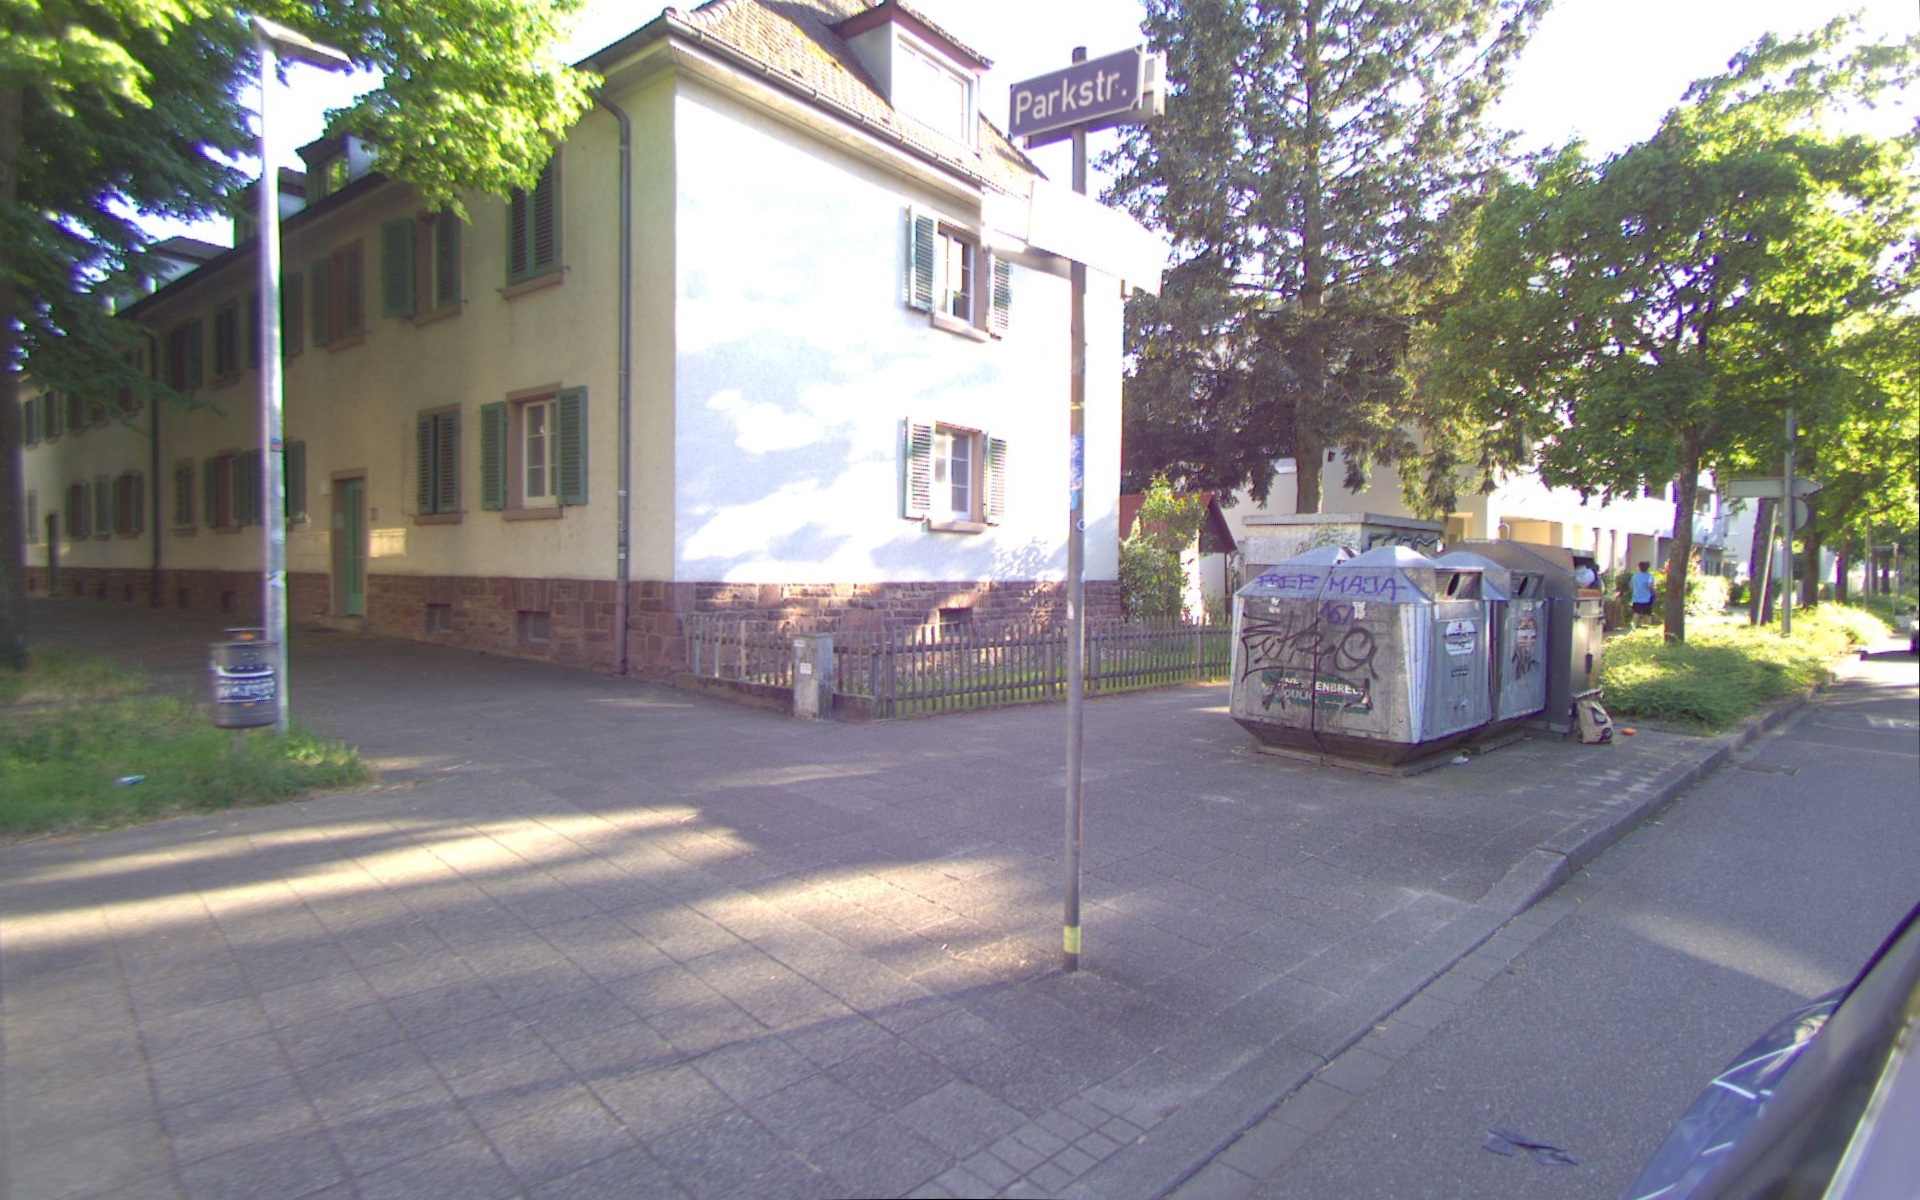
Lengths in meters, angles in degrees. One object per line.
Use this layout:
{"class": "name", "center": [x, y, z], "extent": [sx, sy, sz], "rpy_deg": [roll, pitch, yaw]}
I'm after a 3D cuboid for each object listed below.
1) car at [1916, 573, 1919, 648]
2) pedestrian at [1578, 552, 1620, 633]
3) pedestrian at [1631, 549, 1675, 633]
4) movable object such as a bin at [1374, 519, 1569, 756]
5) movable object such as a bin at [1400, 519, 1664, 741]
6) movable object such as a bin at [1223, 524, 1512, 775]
{"class": "car", "center": [23.633, 0.196, 23.647], "extent": [1.885, 1.642, 4.547], "rpy_deg": [0, 1, 44]}
{"class": "pedestrian", "center": [15.501, -0.200, 24.541], "extent": [1.002, 1.917, 0.642], "rpy_deg": [-1, 1, -45]}
{"class": "pedestrian", "center": [16.174, -0.212, 23.613], "extent": [0.881, 1.917, 0.673], "rpy_deg": [-1, 1, -44]}
{"class": "movable object such as a bin", "center": [4.458, 0.276, 8.809], "extent": [1.364, 1.850, 1.147], "rpy_deg": [-1, 1, -45]}
{"class": "movable object such as a bin", "center": [5.479, 0.233, 9.742], "extent": [1.371, 1.876, 1.921], "rpy_deg": [-1, 1, -45]}
{"class": "movable object such as a bin", "center": [3.188, 0.311, 7.912], "extent": [1.614, 1.678, 1.587], "rpy_deg": [-1, 1, -45]}
